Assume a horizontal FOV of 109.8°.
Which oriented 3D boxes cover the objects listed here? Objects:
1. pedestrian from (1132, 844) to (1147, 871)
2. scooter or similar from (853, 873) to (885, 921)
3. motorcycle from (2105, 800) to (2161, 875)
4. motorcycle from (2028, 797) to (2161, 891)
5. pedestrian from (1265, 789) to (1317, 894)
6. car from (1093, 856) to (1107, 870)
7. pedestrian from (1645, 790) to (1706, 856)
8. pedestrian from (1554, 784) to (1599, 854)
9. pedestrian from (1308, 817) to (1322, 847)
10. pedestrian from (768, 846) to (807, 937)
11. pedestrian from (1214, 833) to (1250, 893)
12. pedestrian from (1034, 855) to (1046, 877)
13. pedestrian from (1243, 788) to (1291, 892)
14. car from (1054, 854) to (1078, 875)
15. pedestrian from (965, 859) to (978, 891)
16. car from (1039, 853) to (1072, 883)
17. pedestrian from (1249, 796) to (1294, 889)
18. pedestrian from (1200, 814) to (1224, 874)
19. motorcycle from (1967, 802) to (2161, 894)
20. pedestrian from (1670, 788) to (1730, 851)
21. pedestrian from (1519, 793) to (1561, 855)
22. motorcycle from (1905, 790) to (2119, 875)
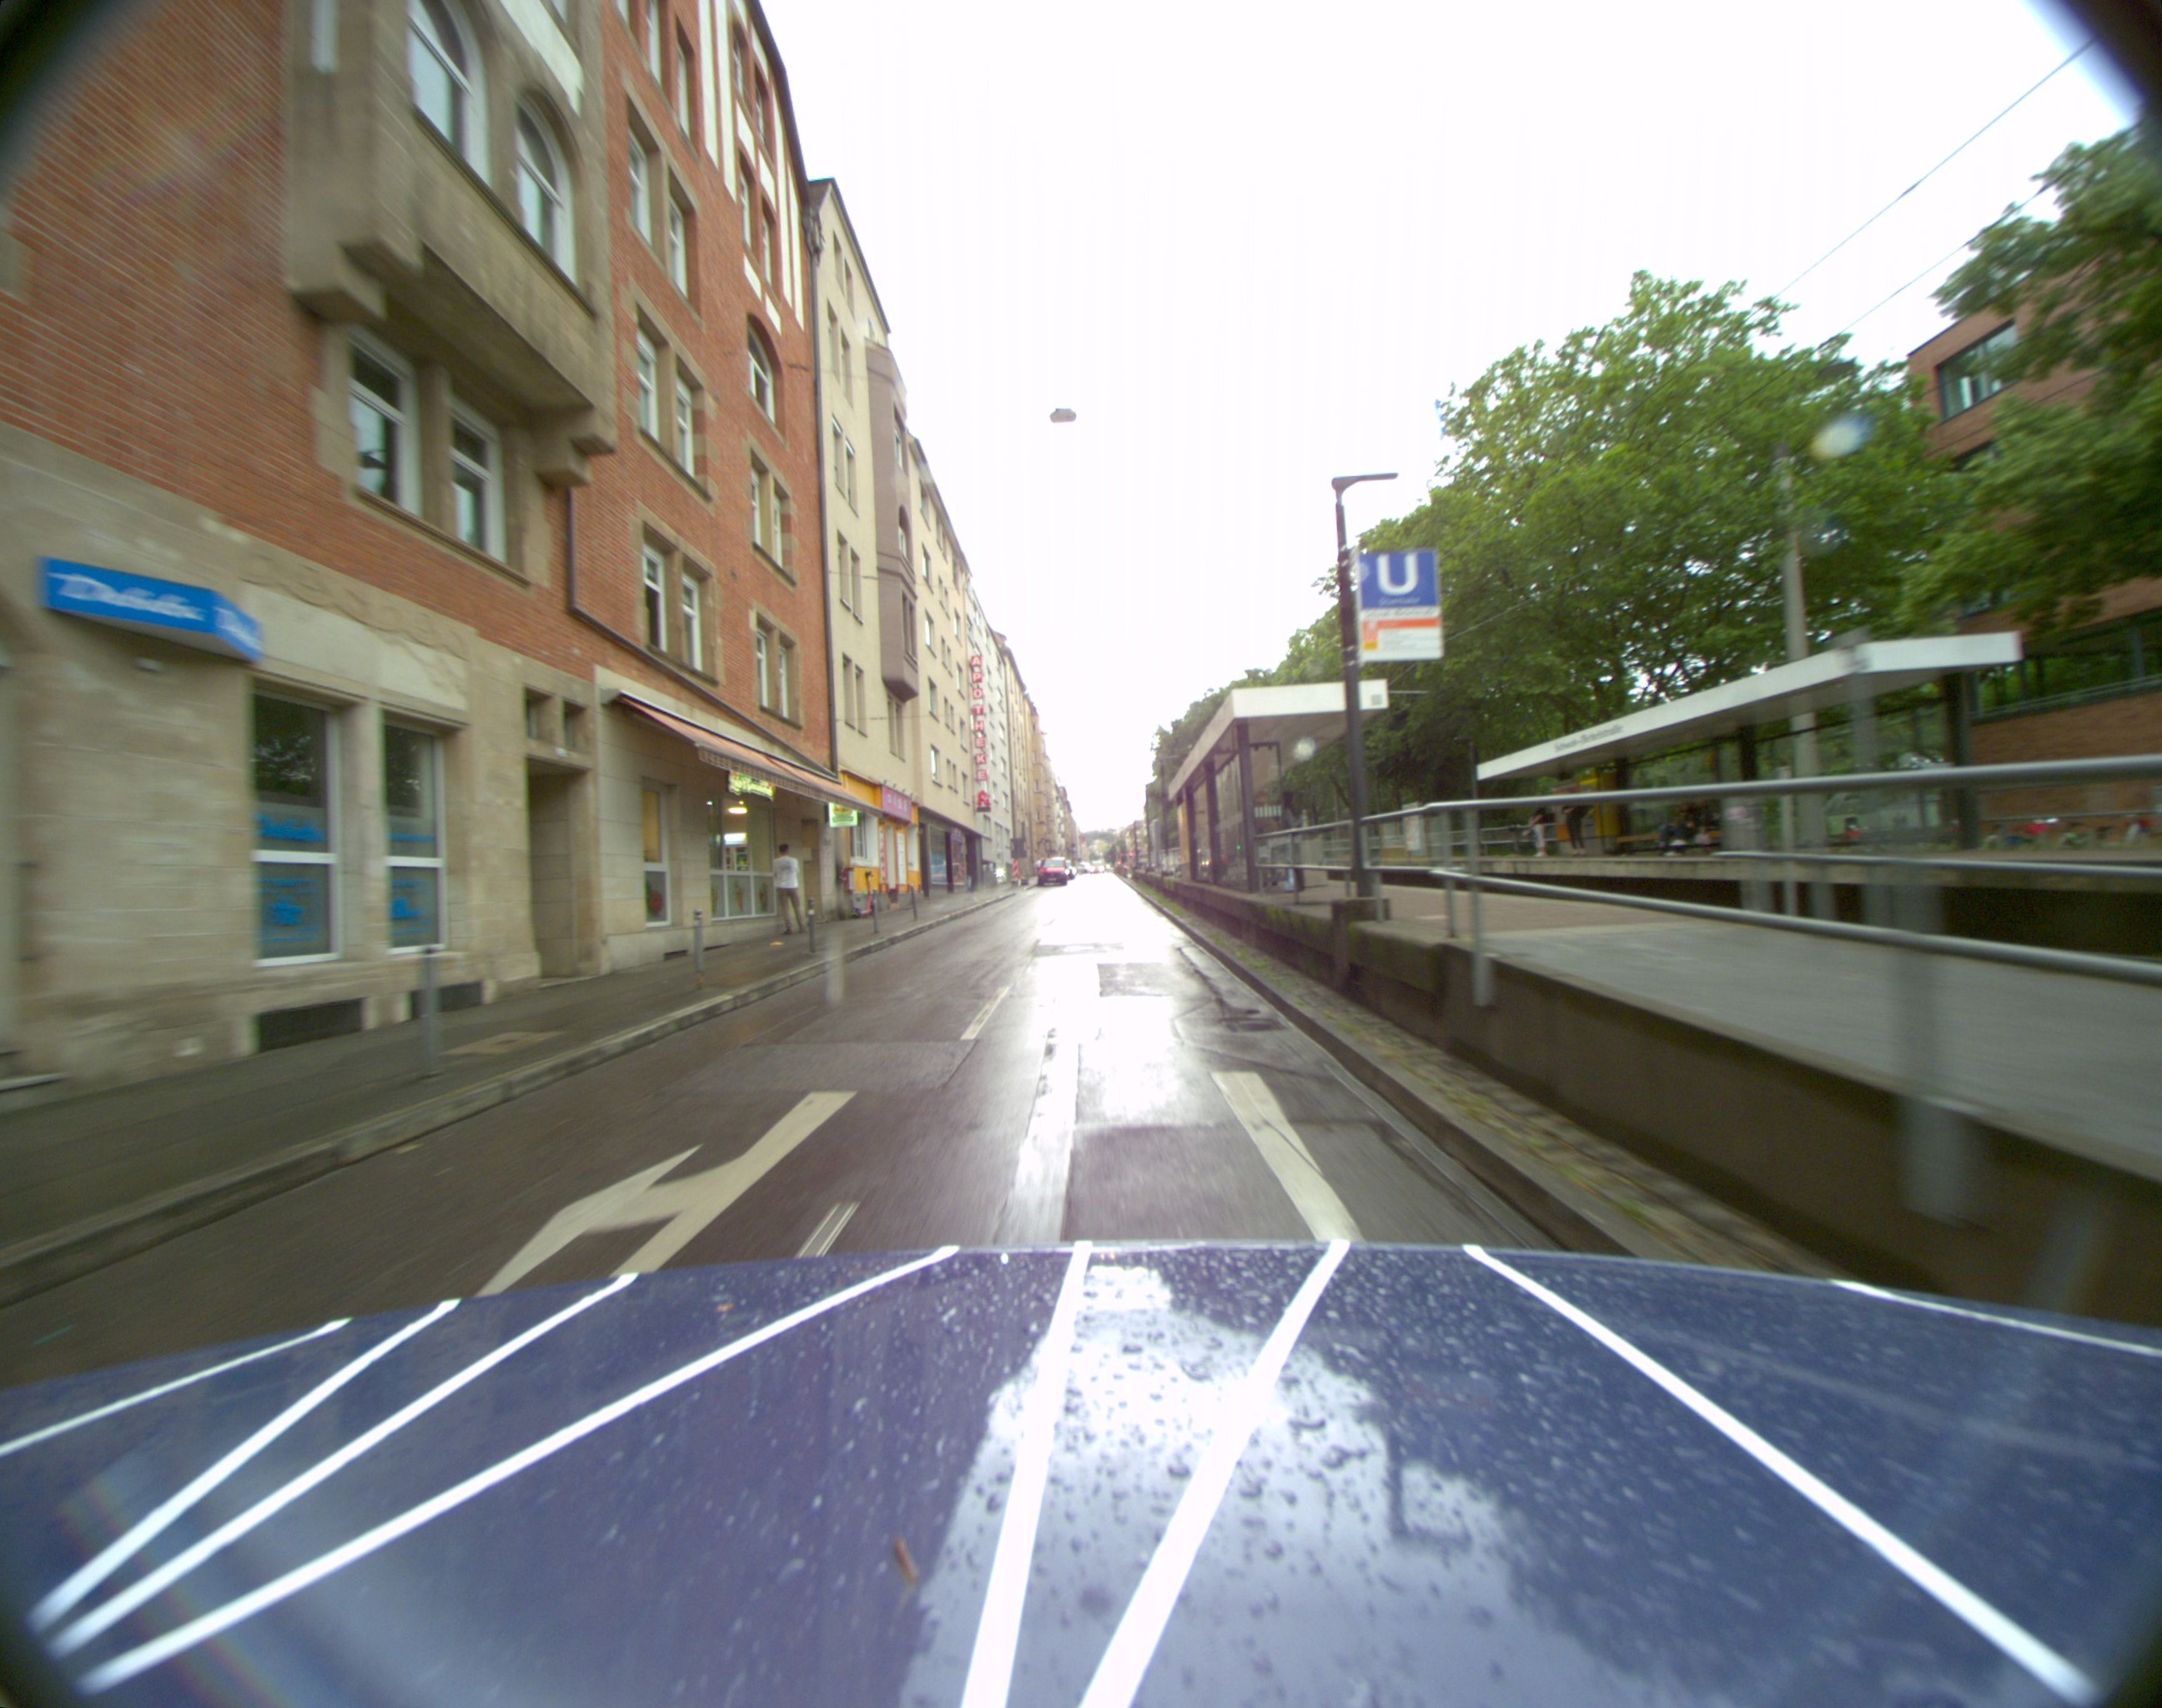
[{"bbox_3d":[3.981,0.268,51.843,0.861,1.788,0.787,-3,0,1],"label":"pedestrian"},{"bbox_3d":[-5.717,1.141,20.550,0.258,1.214,1.196,-3,-1,11],"label":"scooter or similar"},{"bbox_3d":[22.316,-0.418,14.595,3.874,1.399,1.006,-3,0,0],"label":"motorcycle"},{"bbox_3d":[22.330,-0.272,15.827,3.874,1.805,1.006,-3,1,0],"label":"motorcycle"},{"bbox_3d":[3.267,-0.190,11.839,0.615,1.572,0.507,-3,0,5],"label":"pedestrian"},{"bbox_3d":[2.316,1.093,91.895,1.620,1.592,4.068,-2,-2,1],"label":"car"},{"bbox_3d":[12.776,-0.656,16.337,0.779,1.354,0.564,-4,0,-1],"label":"pedestrian"},{"bbox_3d":[12.533,-0.876,19.245,0.564,1.705,0.706,-4,0,0],"label":"pedestrian"},{"bbox_3d":[13.146,-1.204,42.682,0.563,1.631,0.689,-4,0,8],"label":"pedestrian"},{"bbox_3d":[-6.013,0.753,15.579,0.580,1.820,0.562,-1,2,-42],"label":"pedestrian"},{"bbox_3d":[3.172,0.189,15.986,0.615,1.219,0.507,-3,0,5],"label":"pedestrian"},{"bbox_3d":[-3.417,0.960,63.176,0.853,1.747,0.837,-4,0,2],"label":"pedestrian"},{"bbox_3d":[3.094,-0.227,12.671,0.615,1.678,0.587,-3,0,5],"label":"pedestrian"},{"bbox_3d":[-1.260,0.902,67.357,1.770,1.698,4.500,-3,-1,2],"label":"car"},{"bbox_3d":[-5.748,1.095,39.926,0.483,1.635,0.331,-4,1,-21],"label":"pedestrian"},{"bbox_3d":[-1.677,0.873,51.300,1.980,1.827,5.245,-3,0,0],"label":"car"},{"bbox_3d":[3.340,-0.198,13.365,0.615,1.572,0.507,-3,0,5],"label":"pedestrian"},{"bbox_3d":[3.588,-0.278,20.779,0.496,1.595,0.637,-3,1,18],"label":"pedestrian"},{"bbox_3d":[22.362,-0.157,16.976,3.874,1.805,1.006,-3,1,0],"label":"motorcycle"},{"bbox_3d":[12.795,-0.700,15.717,0.705,1.233,0.564,-4,0,-1],"label":"pedestrian"},{"bbox_3d":[12.540,-0.811,20.767,0.688,1.631,0.564,-4,0,-1],"label":"pedestrian"},{"bbox_3d":[22.462,-0.509,18.393,3.874,1.763,1.006,-3,1,0],"label":"motorcycle"}]
